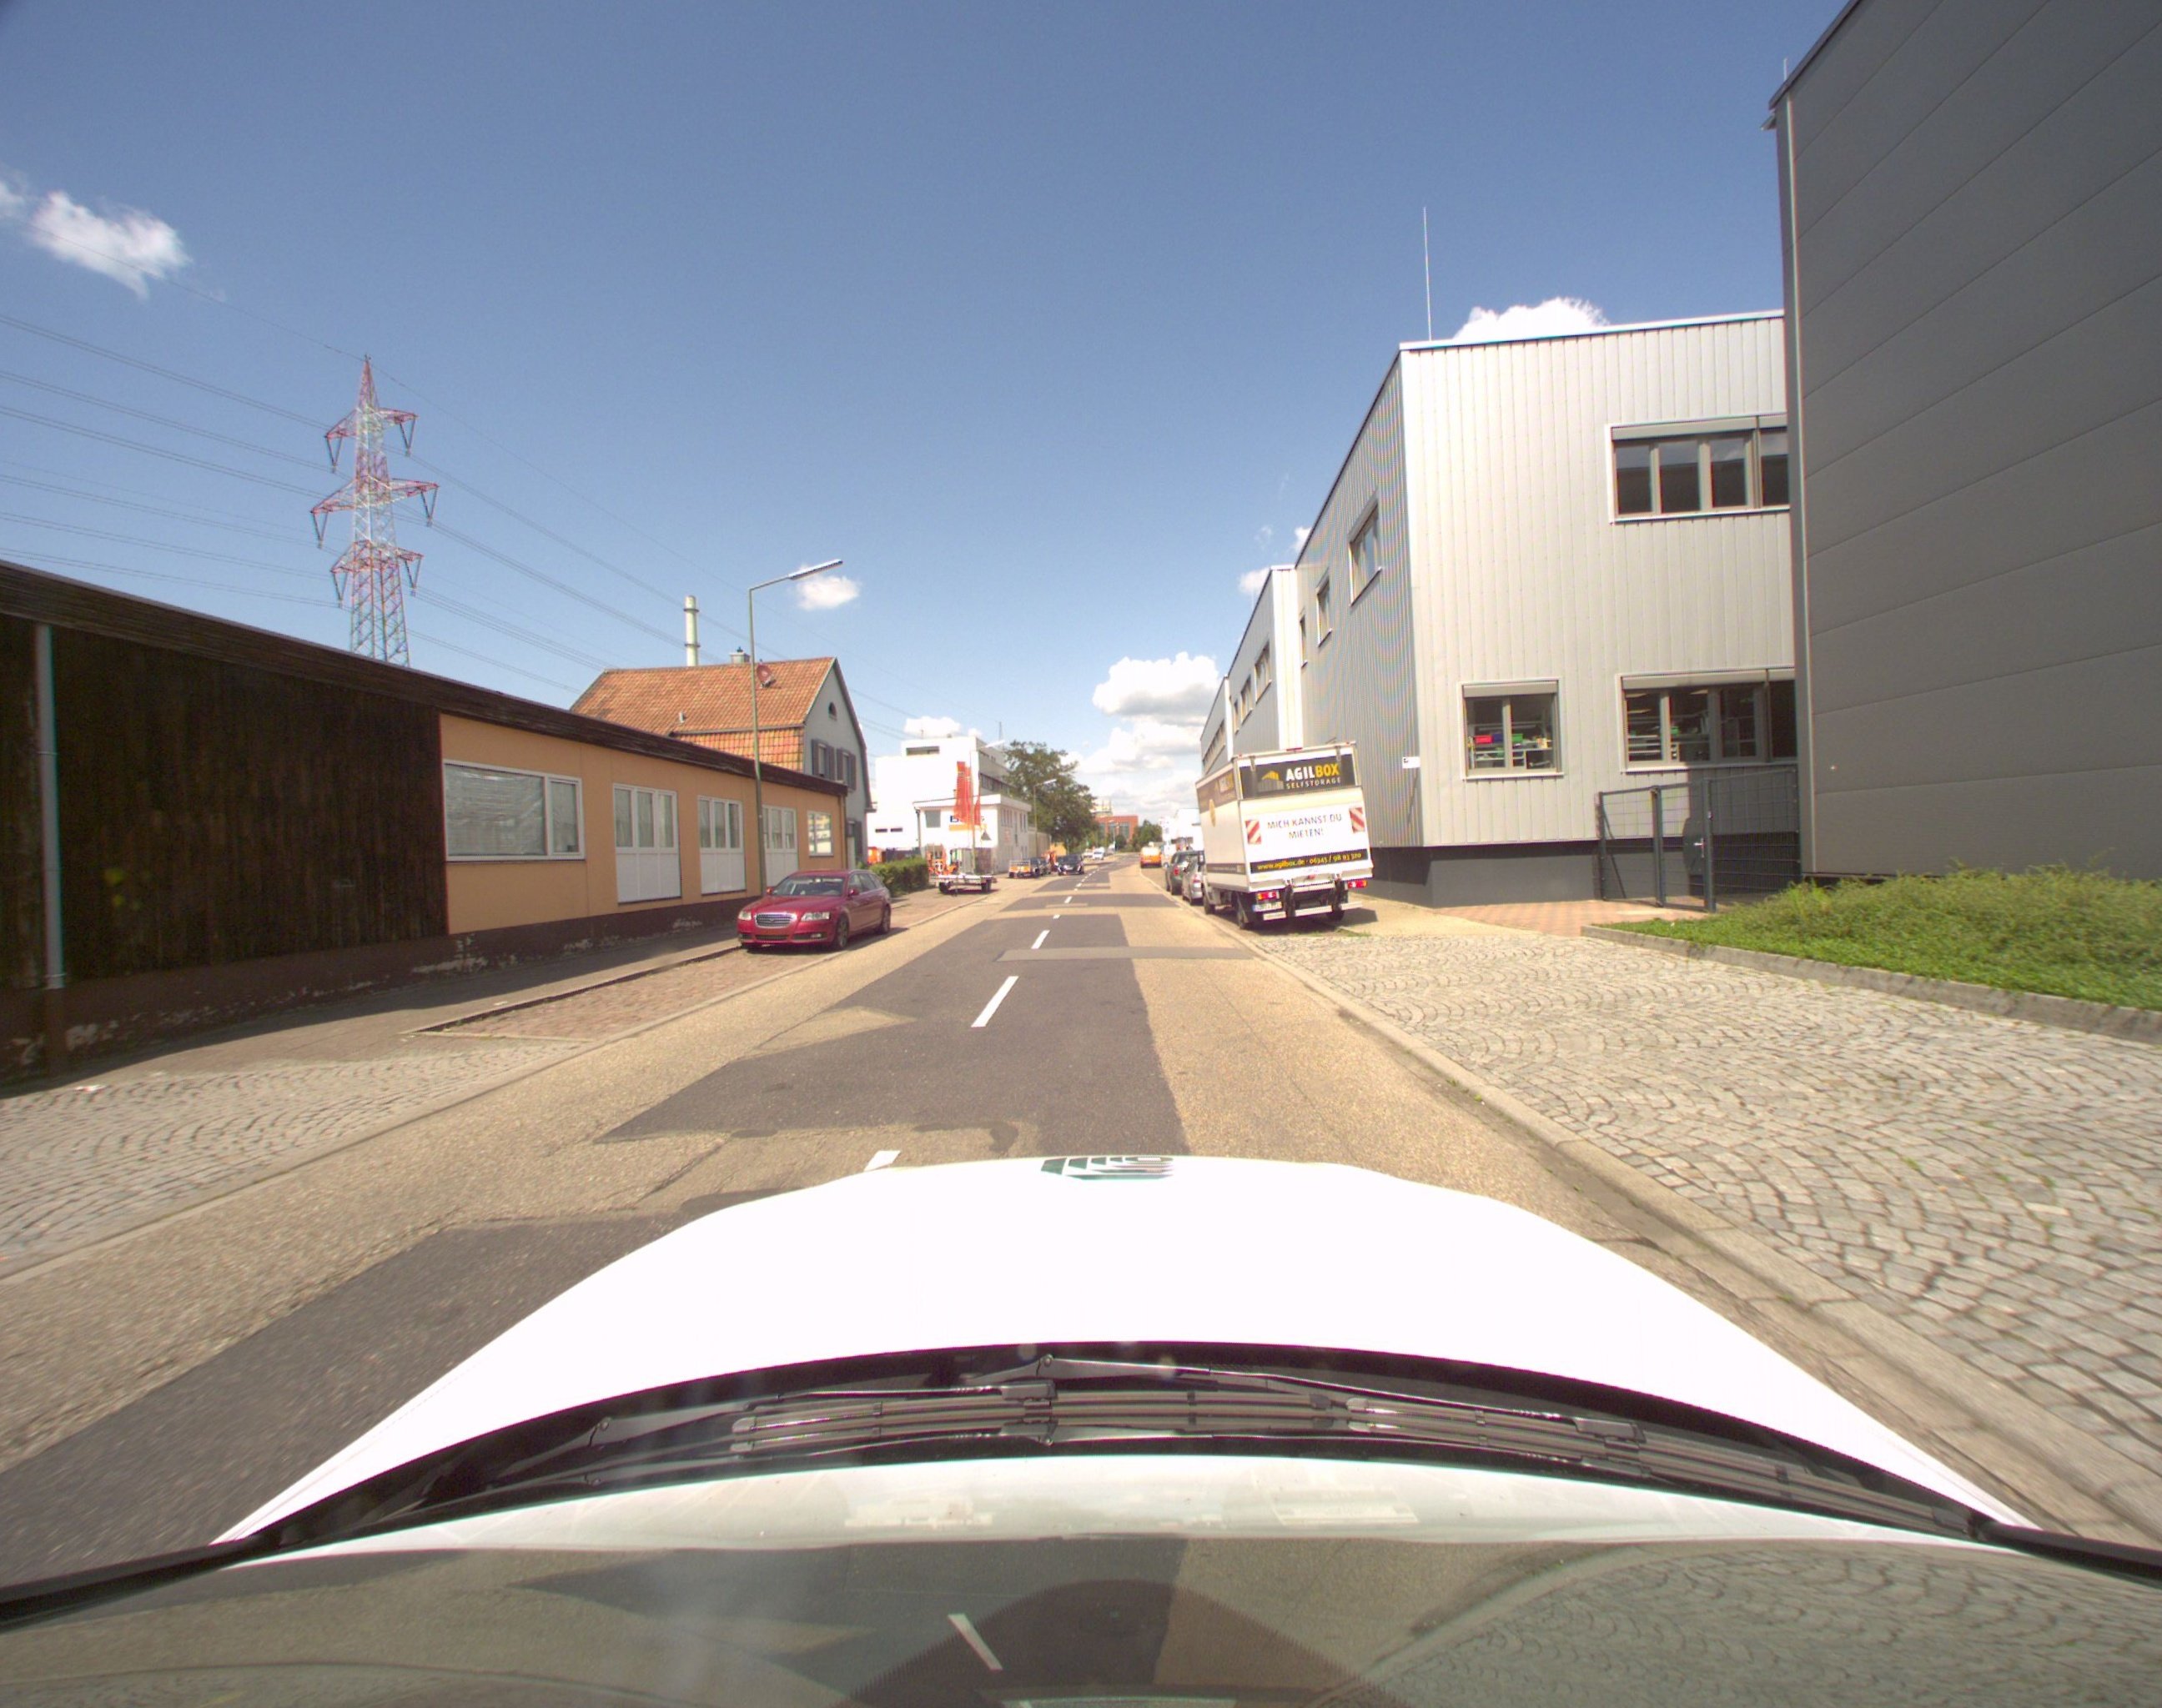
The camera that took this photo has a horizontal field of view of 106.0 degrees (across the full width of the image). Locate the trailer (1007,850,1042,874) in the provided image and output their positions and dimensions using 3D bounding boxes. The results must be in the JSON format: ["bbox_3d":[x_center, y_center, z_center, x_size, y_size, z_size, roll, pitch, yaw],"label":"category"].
[{"bbox_3d":[-3.878,0.554,56.217,1.986,1.556,4.255,-1,0,2],"label":"trailer"}]

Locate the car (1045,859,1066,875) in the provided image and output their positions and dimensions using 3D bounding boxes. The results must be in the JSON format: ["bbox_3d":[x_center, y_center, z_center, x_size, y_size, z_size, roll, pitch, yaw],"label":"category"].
[{"bbox_3d":[-2.399,1.235,77.226,1.662,1.447,3.455,1,-1,2],"label":"car"}]

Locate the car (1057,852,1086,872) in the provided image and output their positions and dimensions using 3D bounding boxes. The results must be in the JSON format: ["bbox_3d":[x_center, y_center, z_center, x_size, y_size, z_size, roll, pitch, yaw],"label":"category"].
[{"bbox_3d":[-0.647,0.556,58.459,1.911,1.285,3.615,-2,0,1],"label":"car"}]

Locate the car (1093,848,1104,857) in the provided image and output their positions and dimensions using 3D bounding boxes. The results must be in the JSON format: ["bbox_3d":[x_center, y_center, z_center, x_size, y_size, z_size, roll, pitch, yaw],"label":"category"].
[{"bbox_3d":[3.188,-0.232,148.768,1.801,1.564,4.006,0,-1,5],"label":"car"}]

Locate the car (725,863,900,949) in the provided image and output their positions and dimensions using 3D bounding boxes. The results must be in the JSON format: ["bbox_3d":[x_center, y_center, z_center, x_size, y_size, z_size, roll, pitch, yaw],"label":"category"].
[{"bbox_3d":[-5.137,0.916,16.337,1.755,1.447,4.743,1,-1,2],"label":"car"}]

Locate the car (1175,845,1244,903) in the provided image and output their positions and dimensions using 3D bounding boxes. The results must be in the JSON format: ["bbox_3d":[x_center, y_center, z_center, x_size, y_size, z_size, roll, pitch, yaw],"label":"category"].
[{"bbox_3d":[3.810,0.553,24.692,1.561,1.574,4.071,-2,0,2],"label":"car"}]

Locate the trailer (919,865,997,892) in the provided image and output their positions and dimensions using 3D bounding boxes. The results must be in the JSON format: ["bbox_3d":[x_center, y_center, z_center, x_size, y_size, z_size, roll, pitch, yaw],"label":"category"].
[{"bbox_3d":[-5.166,1.011,35.153,2.354,0.893,5.571,1,1,2],"label":"trailer"}]

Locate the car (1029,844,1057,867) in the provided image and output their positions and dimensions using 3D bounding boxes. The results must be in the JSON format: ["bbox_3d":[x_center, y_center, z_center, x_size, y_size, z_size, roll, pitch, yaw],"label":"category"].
[{"bbox_3d":[-3.326,0.133,71.745,1.985,2.014,4.004,0,-1,4],"label":"car"}]

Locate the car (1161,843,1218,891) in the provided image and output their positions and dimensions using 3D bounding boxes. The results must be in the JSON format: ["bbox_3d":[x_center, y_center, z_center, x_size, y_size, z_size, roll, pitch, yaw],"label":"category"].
[{"bbox_3d":[3.921,0.481,29.959,1.761,1.612,3.876,-1,-1,3],"label":"car"}]

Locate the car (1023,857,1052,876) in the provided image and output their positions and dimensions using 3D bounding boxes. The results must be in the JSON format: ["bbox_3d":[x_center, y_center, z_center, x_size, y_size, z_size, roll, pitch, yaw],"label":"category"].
[{"bbox_3d":[-3.461,0.956,64.932,1.817,1.442,4.004,0,-1,4],"label":"car"}]

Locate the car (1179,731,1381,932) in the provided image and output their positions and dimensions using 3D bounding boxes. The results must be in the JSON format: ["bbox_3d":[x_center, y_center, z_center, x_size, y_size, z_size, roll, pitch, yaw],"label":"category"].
[{"bbox_3d":[3.884,-0.372,17.581,2.382,3.362,6.641,-4,0,-1],"label":"car"}]

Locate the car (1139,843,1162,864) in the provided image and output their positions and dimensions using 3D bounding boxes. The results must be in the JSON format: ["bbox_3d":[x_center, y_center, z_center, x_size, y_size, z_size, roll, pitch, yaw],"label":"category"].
[{"bbox_3d":[6.105,-0.013,71.951,1.931,1.742,4.381,-2,-1,4],"label":"car"}]

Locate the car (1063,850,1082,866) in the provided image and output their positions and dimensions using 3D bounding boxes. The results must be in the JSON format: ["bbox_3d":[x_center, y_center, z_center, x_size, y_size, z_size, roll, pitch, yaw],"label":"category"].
[{"bbox_3d":[-0.993,0.517,94.910,1.913,1.794,4.004,0,-1,4],"label":"car"}]
